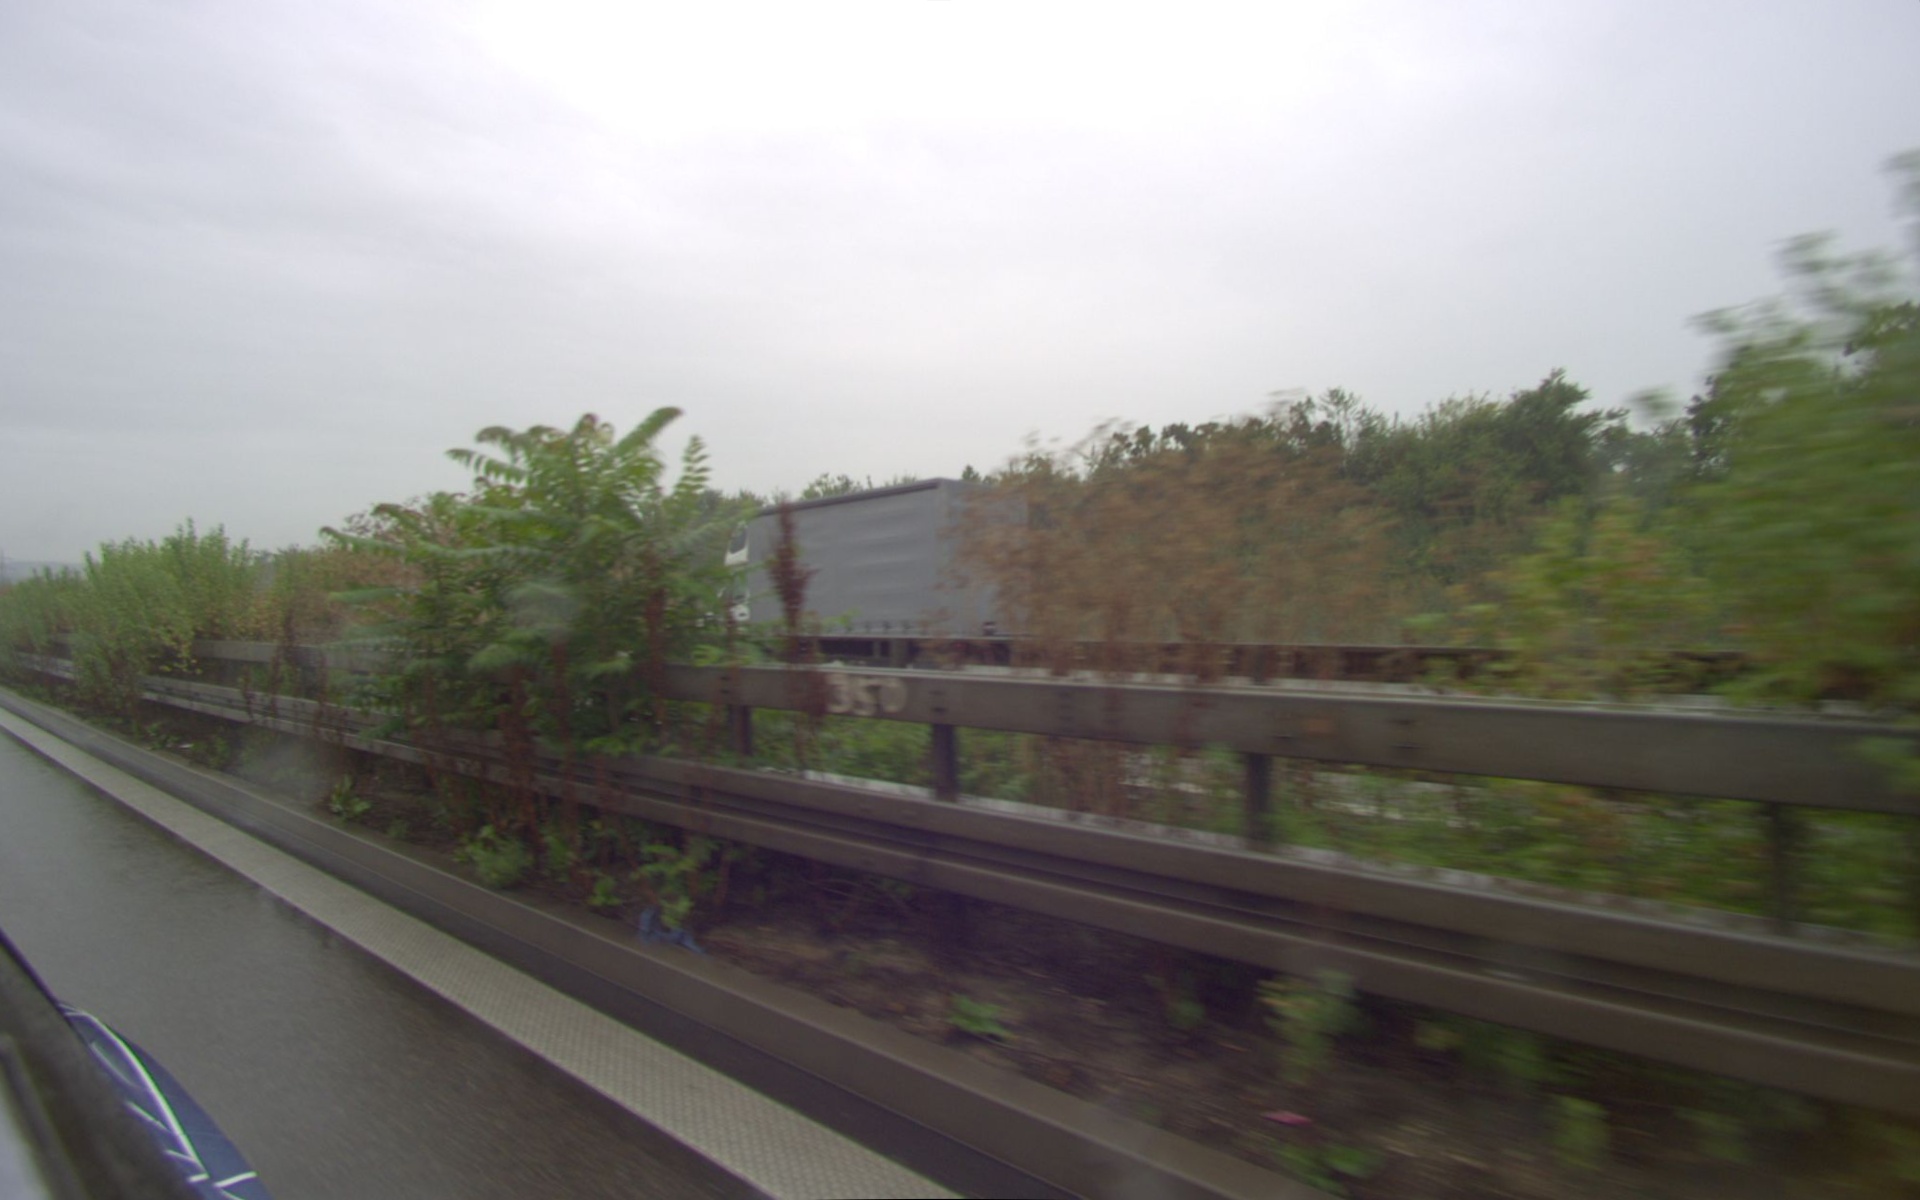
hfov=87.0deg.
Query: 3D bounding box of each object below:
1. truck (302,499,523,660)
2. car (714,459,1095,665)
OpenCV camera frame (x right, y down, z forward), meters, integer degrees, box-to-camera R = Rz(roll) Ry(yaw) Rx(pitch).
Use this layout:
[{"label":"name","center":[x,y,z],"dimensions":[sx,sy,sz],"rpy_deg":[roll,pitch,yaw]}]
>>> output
[{"label":"truck","center":[-25.280,-0.640,45.905],"dimensions":[16.005,6.172,4.067],"rpy_deg":[-2,-1,44]},{"label":"car","center":[-1.239,-0.503,17.928],"dimensions":[6.933,2.982,2.535],"rpy_deg":[-1,-1,41]}]
